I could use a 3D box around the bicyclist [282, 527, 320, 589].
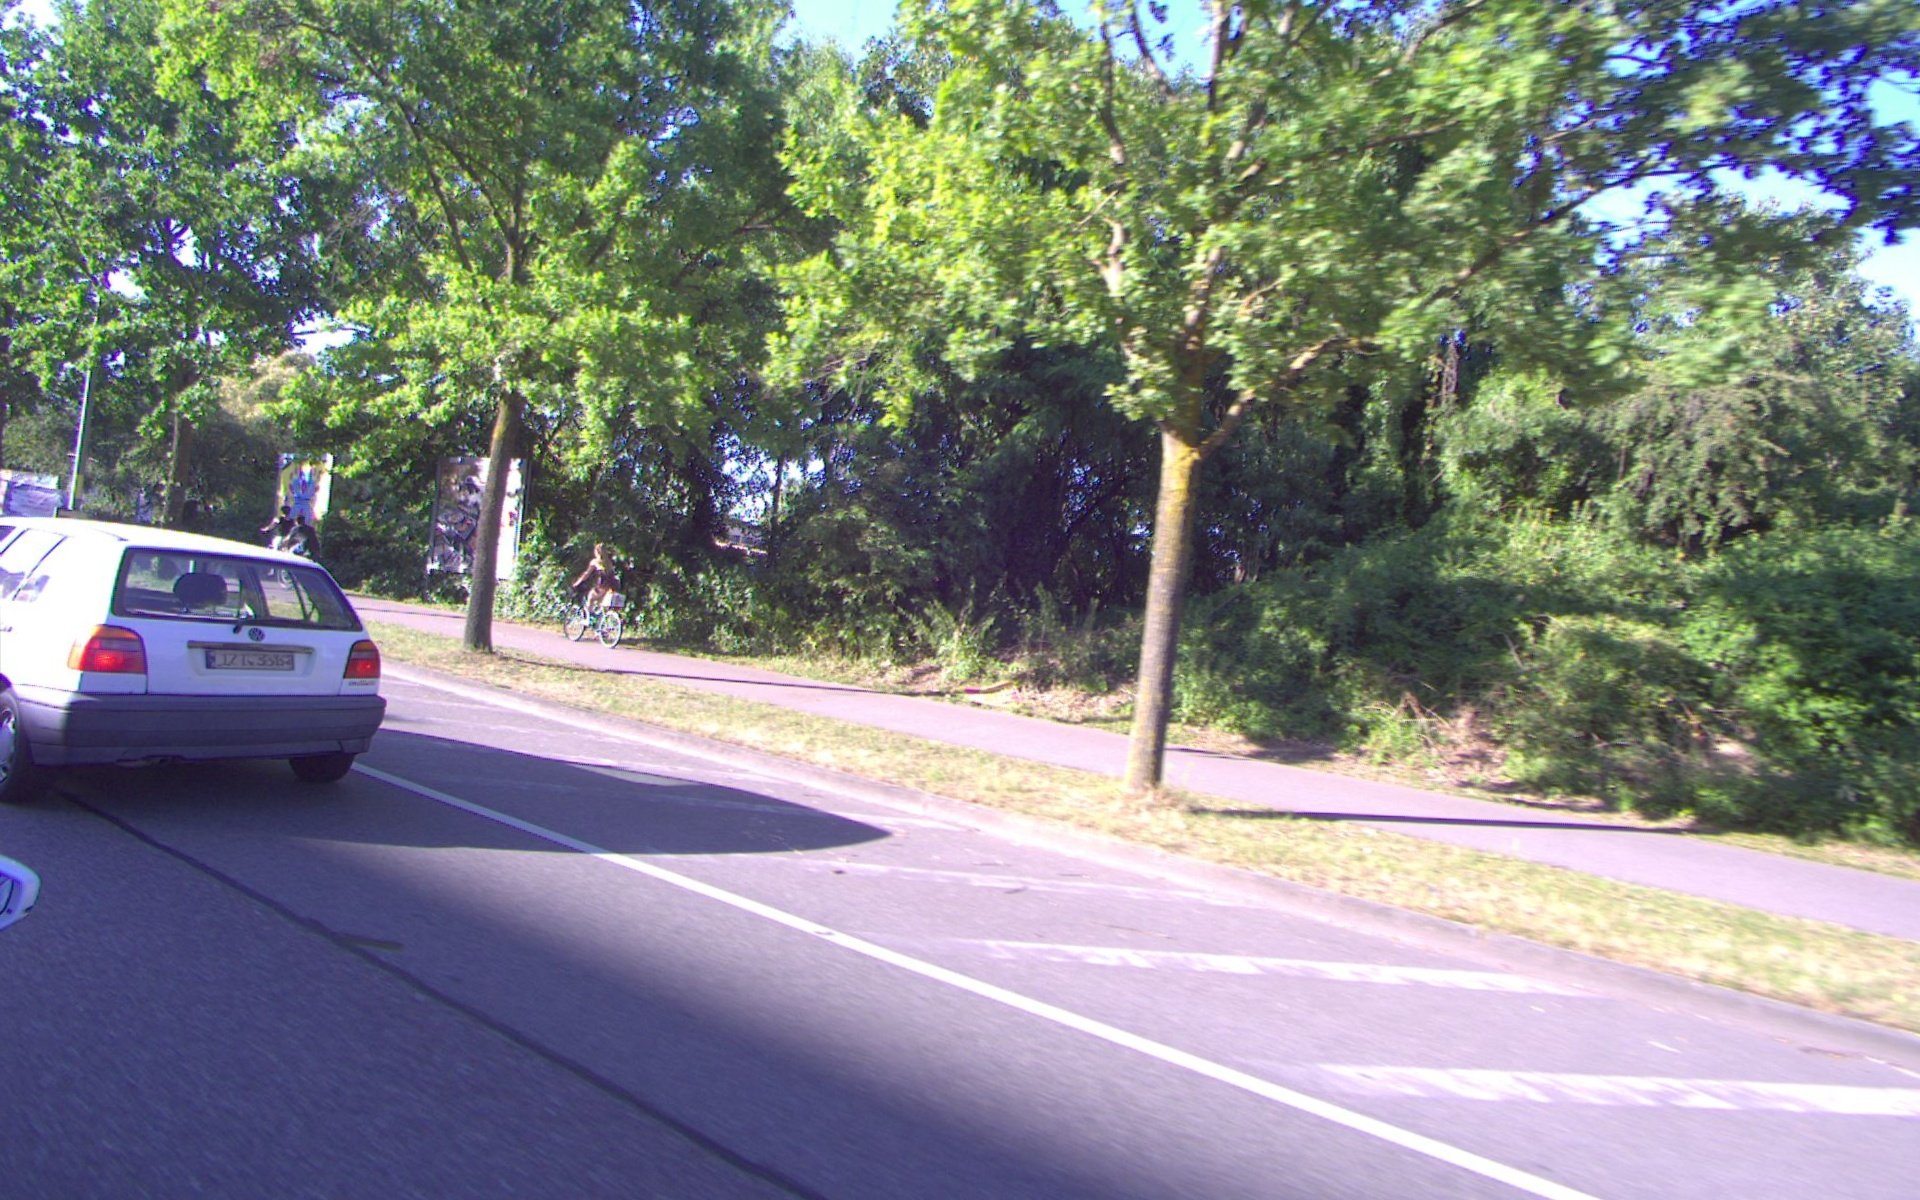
[{"bbox_3d":[-14.761,-0.946,22.546,0.452,1.324,0.428,6,-1,32],"label":"bicyclist"}]

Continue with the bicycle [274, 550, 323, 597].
[{"bbox_3d":[-14.828,-0.595,22.552,1.010,0.925,0.438,6,-2,32],"label":"bicycle"}]

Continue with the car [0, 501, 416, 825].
[{"bbox_3d":[-5.362,0.212,6.220,3.994,1.429,1.582,6,-2,31],"label":"car"}]

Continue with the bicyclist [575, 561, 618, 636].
[{"bbox_3d":[-6.319,-0.029,17.489,0.452,1.248,0.428,6,0,32],"label":"bicyclist"}]

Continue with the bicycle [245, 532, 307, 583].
[{"bbox_3d":[-16.961,-1.058,24.926,1.595,1.125,0.565,6,-2,32],"label":"bicycle"}]

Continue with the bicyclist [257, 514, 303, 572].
[{"bbox_3d":[-16.826,-1.411,24.890,0.821,1.331,0.544,6,-1,32],"label":"bicyclist"}]

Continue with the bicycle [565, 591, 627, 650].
[{"bbox_3d":[-6.328,0.355,17.481,1.010,0.926,0.437,6,1,32],"label":"bicycle"}]
